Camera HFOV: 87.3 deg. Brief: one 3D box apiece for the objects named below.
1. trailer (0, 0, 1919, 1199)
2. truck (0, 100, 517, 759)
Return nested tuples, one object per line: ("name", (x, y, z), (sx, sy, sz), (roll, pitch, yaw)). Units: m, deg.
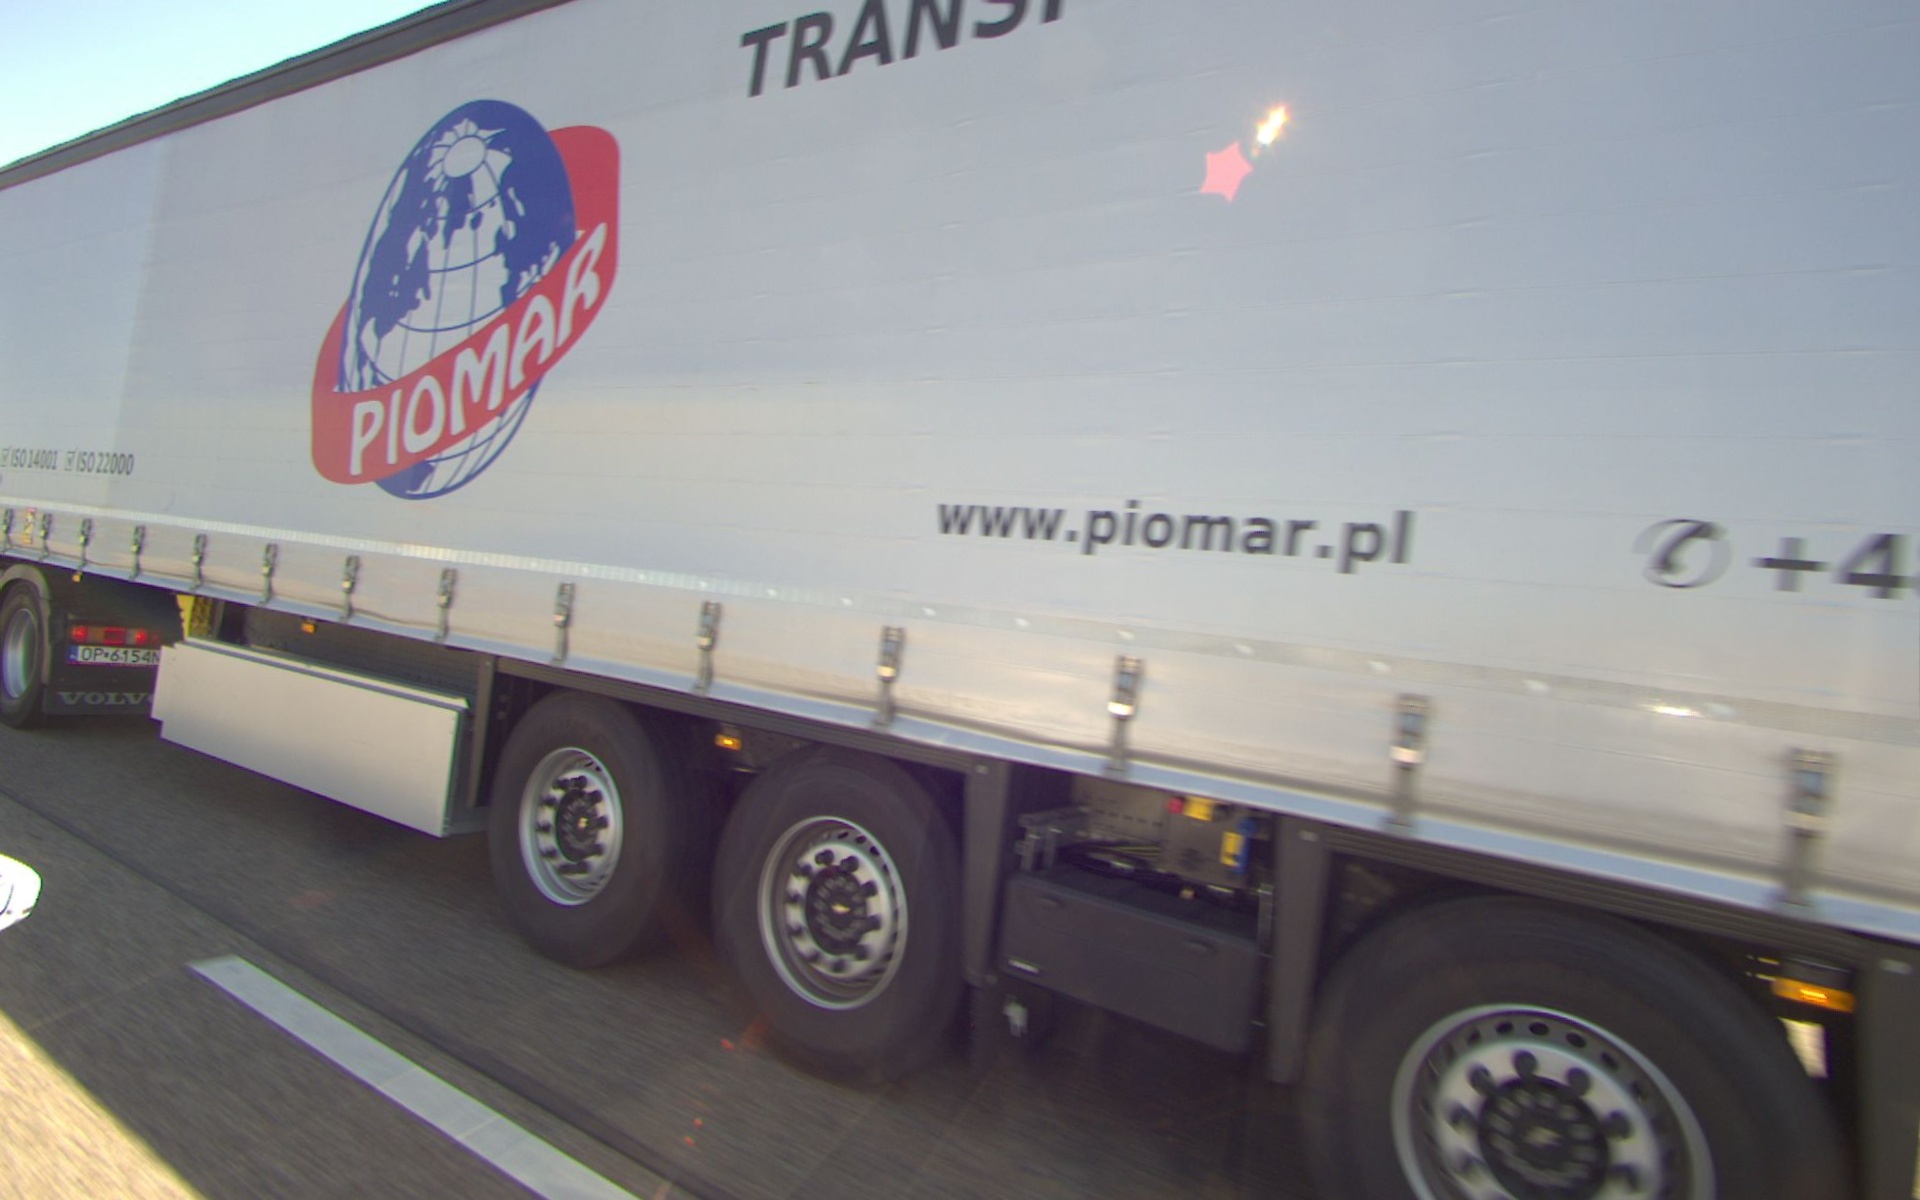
("trailer", (-0.469, -0.436, 4.637), (14.008, 3.956, 2.494), (6, -1, 31))
("truck", (-7.423, -1.239, 8.908), (6.979, 3.966, 2.503), (6, -1, 31))
